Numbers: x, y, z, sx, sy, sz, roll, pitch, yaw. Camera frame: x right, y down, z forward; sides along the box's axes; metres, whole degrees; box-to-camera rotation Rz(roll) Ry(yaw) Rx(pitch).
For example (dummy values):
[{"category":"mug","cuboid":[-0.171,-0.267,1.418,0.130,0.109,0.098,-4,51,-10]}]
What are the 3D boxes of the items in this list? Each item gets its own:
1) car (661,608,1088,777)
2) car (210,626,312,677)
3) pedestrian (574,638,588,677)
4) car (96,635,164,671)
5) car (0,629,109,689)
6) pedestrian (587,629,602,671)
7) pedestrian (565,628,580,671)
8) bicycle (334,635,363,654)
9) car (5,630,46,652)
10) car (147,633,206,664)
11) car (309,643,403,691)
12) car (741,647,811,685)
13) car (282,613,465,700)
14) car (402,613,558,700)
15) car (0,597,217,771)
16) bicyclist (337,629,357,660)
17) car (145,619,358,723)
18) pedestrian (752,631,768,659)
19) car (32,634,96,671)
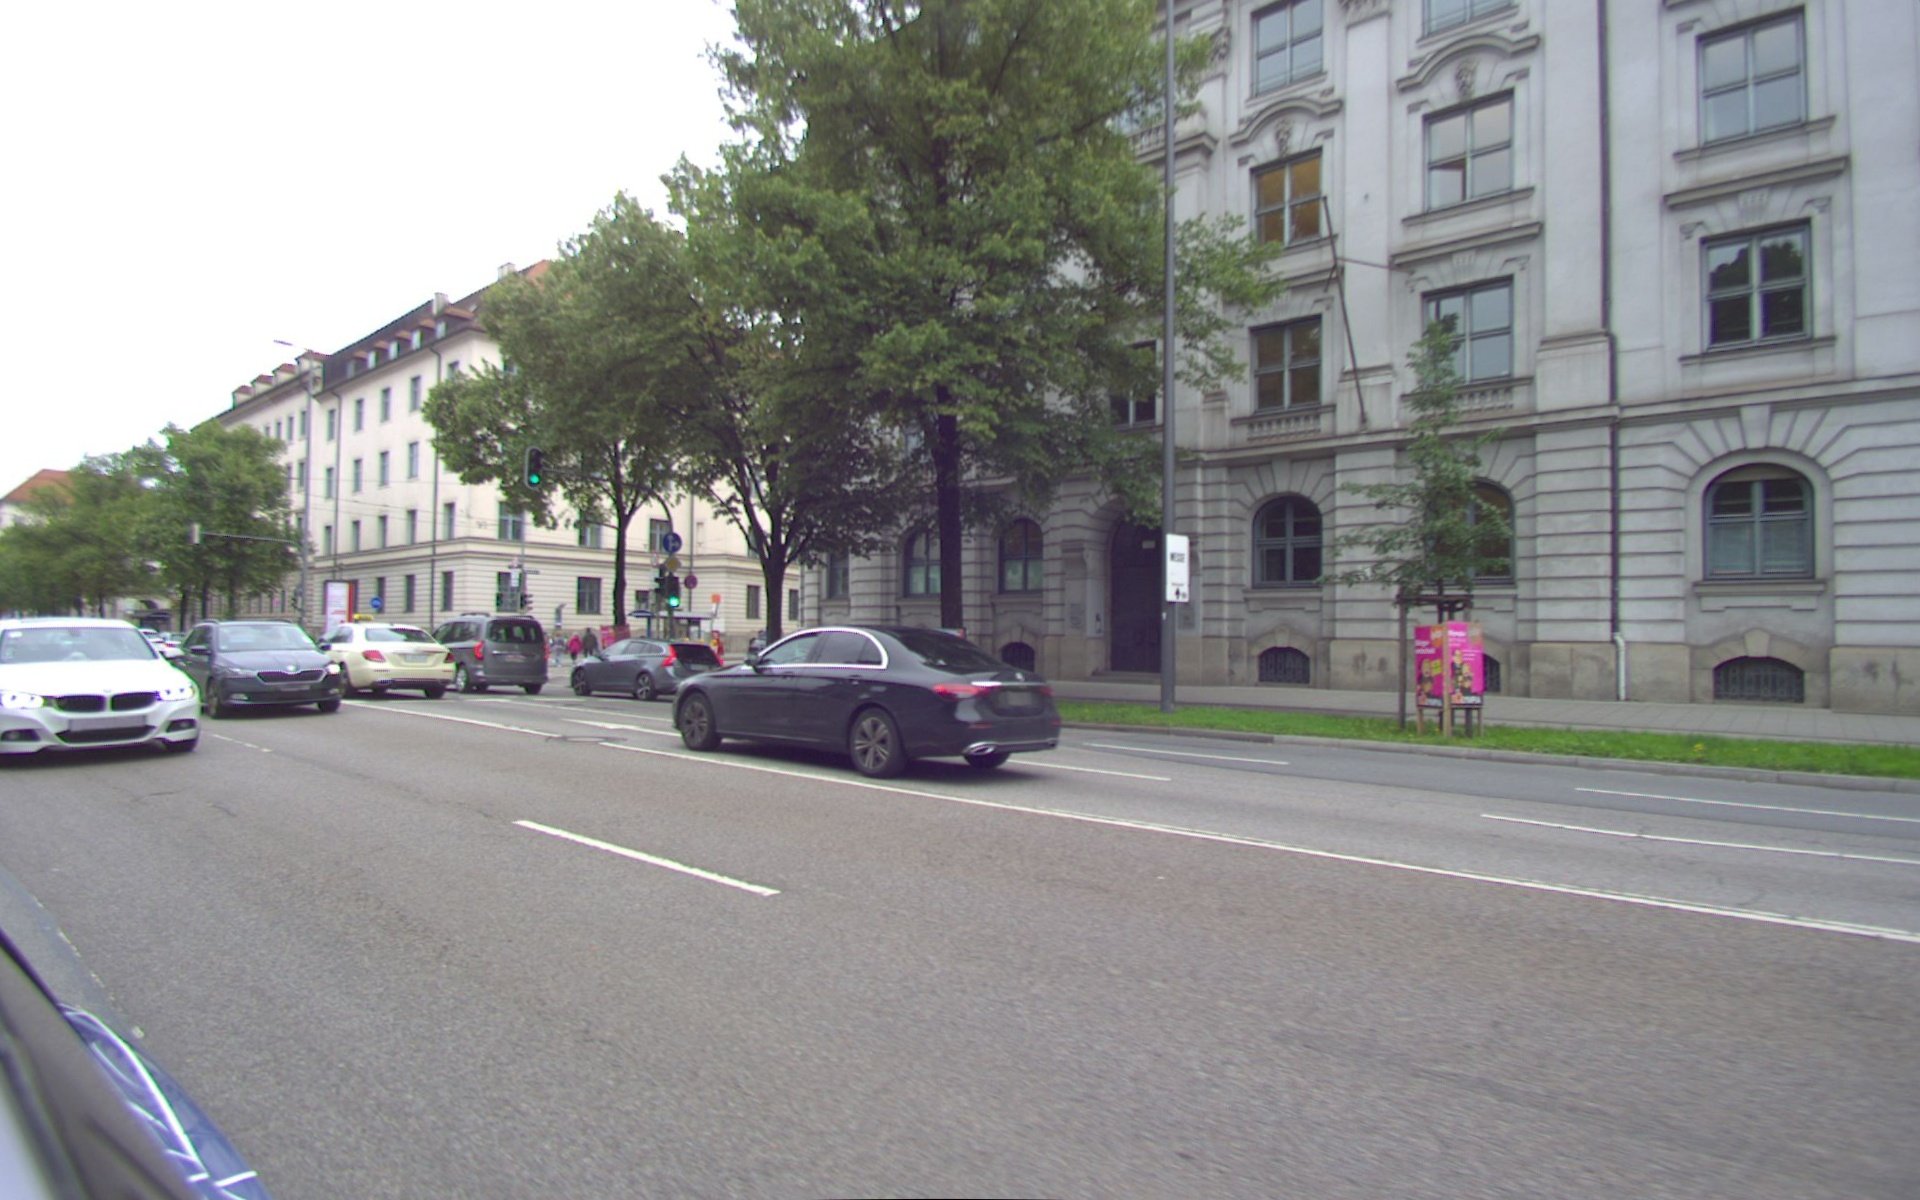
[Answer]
[{"category":"car","cuboid":[-1.102,0.889,10.840,4.745,1.434,1.748,-2,-5,41]},{"category":"car","cuboid":[-24.297,1.765,35.117,4.348,1.668,1.821,-1,-4,41]},{"category":"pedestrian","cuboid":[-17.047,2.588,45.521,0.494,1.752,0.471,2,-2,-31]},{"category":"car","cuboid":[-39.551,2.529,48.195,3.997,1.608,1.726,-2,-5,40]},{"category":"car","cuboid":[-25.105,1.583,27.957,4.335,1.528,1.674,-1,-3,40]},{"category":"pedestrian","cuboid":[-16.598,2.263,45.945,0.494,1.869,0.471,2,-2,-31]},{"category":"pedestrian","cuboid":[-17.203,2.197,44.919,0.494,1.869,0.529,2,-2,-31]},{"category":"bicycle","cuboid":[-31.756,2.299,52.527,2.180,0.995,0.655,-2,-2,42]},{"category":"car","cuboid":[-67.952,2.984,73.538,4.225,1.542,1.735,-1,-3,41]},{"category":"car","cuboid":[-41.726,2.553,53.892,4.055,1.588,1.716,-1,-3,41]},{"category":"car","cuboid":[-21.903,2.387,36.645,4.055,1.588,1.716,-1,-3,41]},{"category":"car","cuboid":[-8.750,3.114,48.465,1.682,1.744,3.546,-1,-3,22]},{"category":"car","cuboid":[-11.957,1.171,20.500,4.821,1.554,1.808,-4,-5,42]},{"category":"car","cuboid":[-11.506,1.312,24.133,4.260,1.763,1.808,1,-4,43]},{"category":"car","cuboid":[-10.500,0.854,11.850,5.023,1.649,1.774,-1,-3,41]},{"category":"bicyclist","cuboid":[-31.887,2.308,52.629,0.892,1.590,0.653,-2,-2,41]},{"category":"car","cuboid":[-11.505,1.062,16.327,4.272,1.458,1.774,-1,-3,41]},{"category":"pedestrian","cuboid":[-13.482,3.018,68.225,0.660,1.866,0.797,-2,-2,41]},{"category":"car","cuboid":[-39.994,2.304,45.137,3.944,1.584,1.617,-2,-3,41]}]
